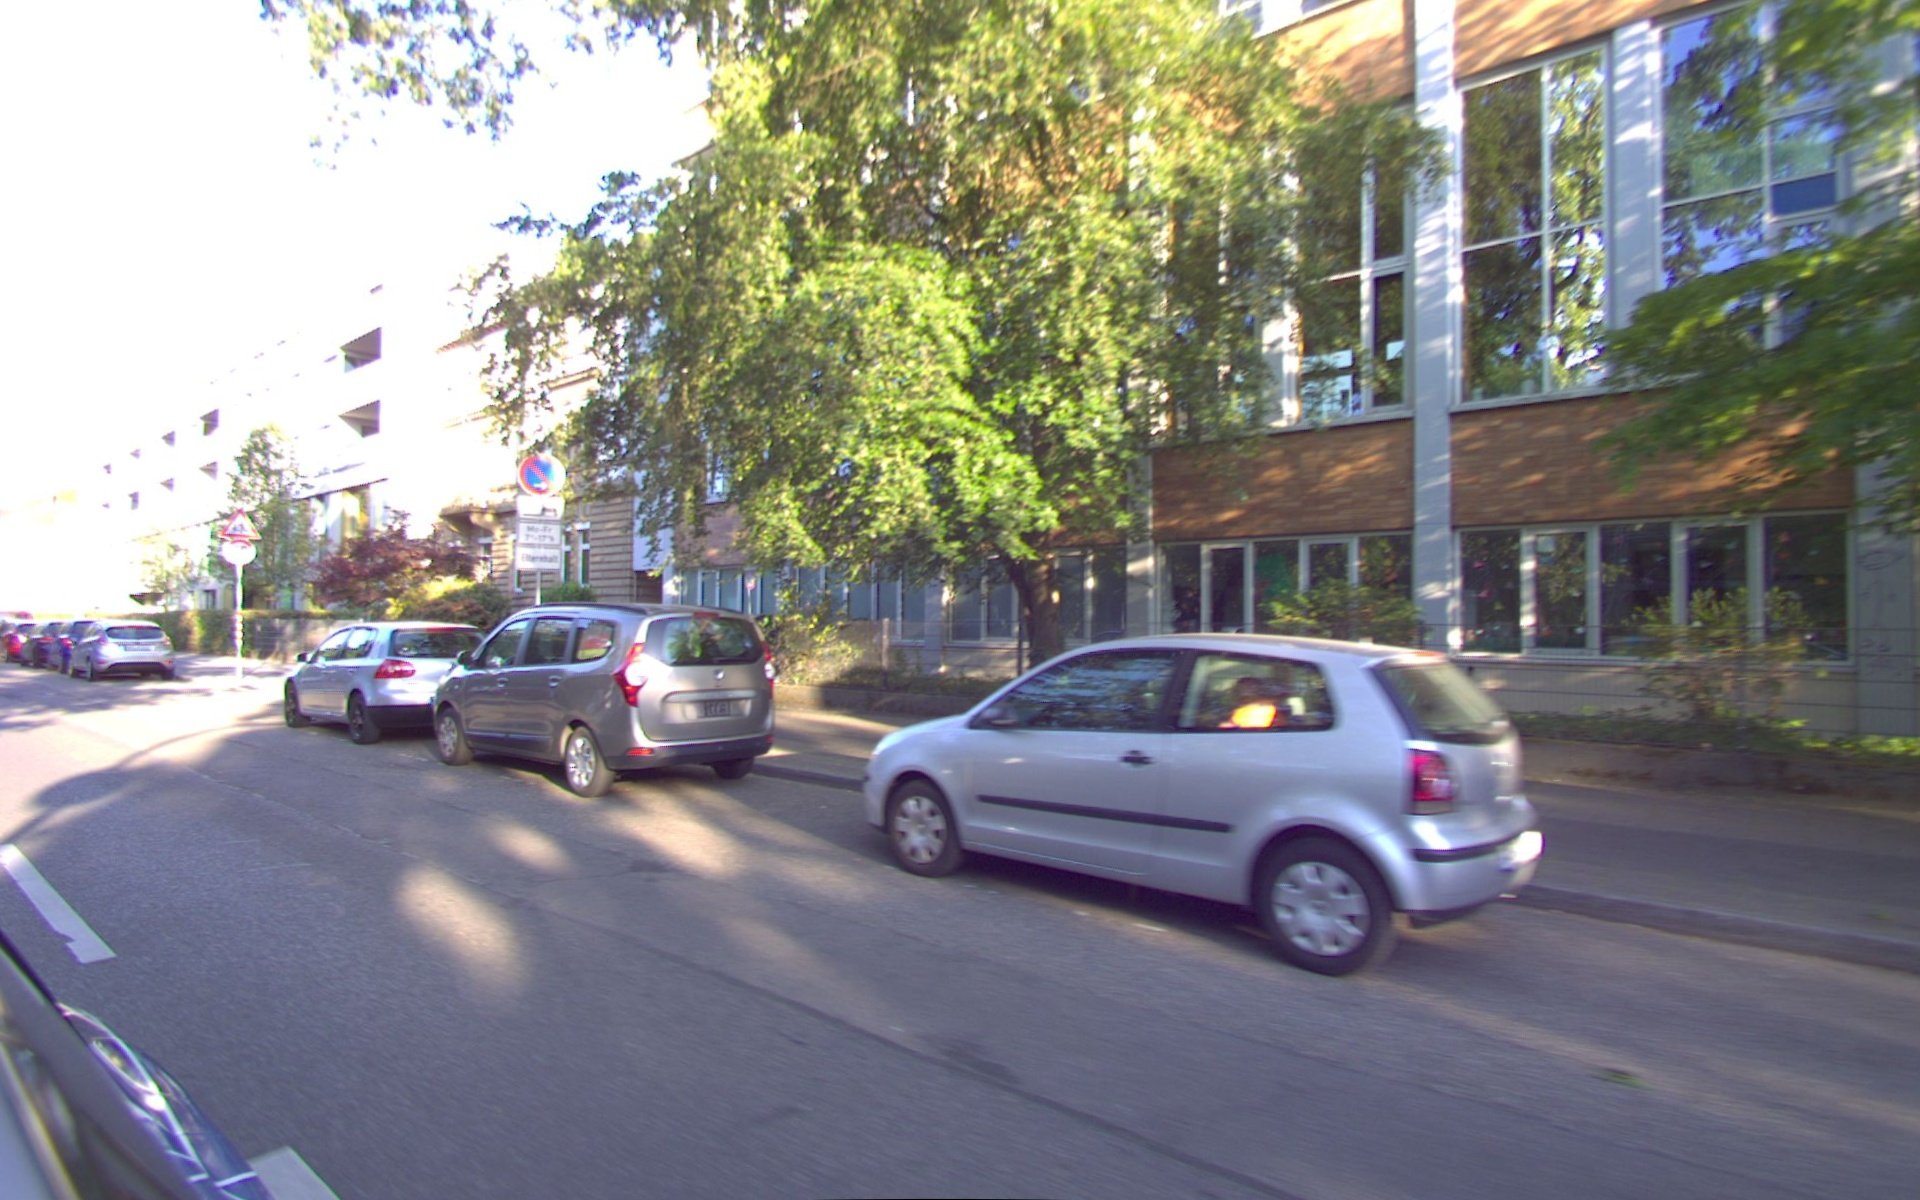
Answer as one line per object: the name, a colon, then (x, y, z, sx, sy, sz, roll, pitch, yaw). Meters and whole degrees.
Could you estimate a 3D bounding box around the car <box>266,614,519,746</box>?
car: (-7.659, 0.992, 13.506, 4.059, 1.505, 1.653, -2, -4, 41)

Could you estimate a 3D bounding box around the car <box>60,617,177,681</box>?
car: (-21.213, 1.224, 25.469, 3.769, 1.505, 1.584, -2, -4, 40)

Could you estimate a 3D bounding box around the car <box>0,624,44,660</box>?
car: (-36.354, 1.594, 38.610, 3.729, 1.290, 1.540, -1, -4, 40)

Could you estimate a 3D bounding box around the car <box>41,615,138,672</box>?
car: (-24.498, 1.222, 28.440, 3.787, 1.519, 1.581, -2, -4, 43)

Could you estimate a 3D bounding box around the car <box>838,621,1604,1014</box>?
car: (1.223, 0.898, 5.749, 3.881, 1.468, 1.661, -2, -4, 42)

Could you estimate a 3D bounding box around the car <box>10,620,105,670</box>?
car: (-28.141, 1.398, 31.510, 4.051, 1.466, 1.582, -1, -4, 40)

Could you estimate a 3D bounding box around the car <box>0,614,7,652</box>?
car: (-44.356, 1.481, 45.463, 4.413, 1.689, 1.724, -1, -2, 40)

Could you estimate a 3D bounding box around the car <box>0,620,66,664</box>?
car: (-32.897, 1.447, 35.596, 3.858, 1.466, 1.582, -1, -3, 40)

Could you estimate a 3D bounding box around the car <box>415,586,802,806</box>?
car: (-3.615, 0.833, 9.995, 4.338, 1.721, 1.661, -2, -4, 41)

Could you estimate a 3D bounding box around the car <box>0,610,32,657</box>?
car: (-40.256, 1.390, 42.107, 4.234, 1.904, 1.789, -2, -4, 40)
